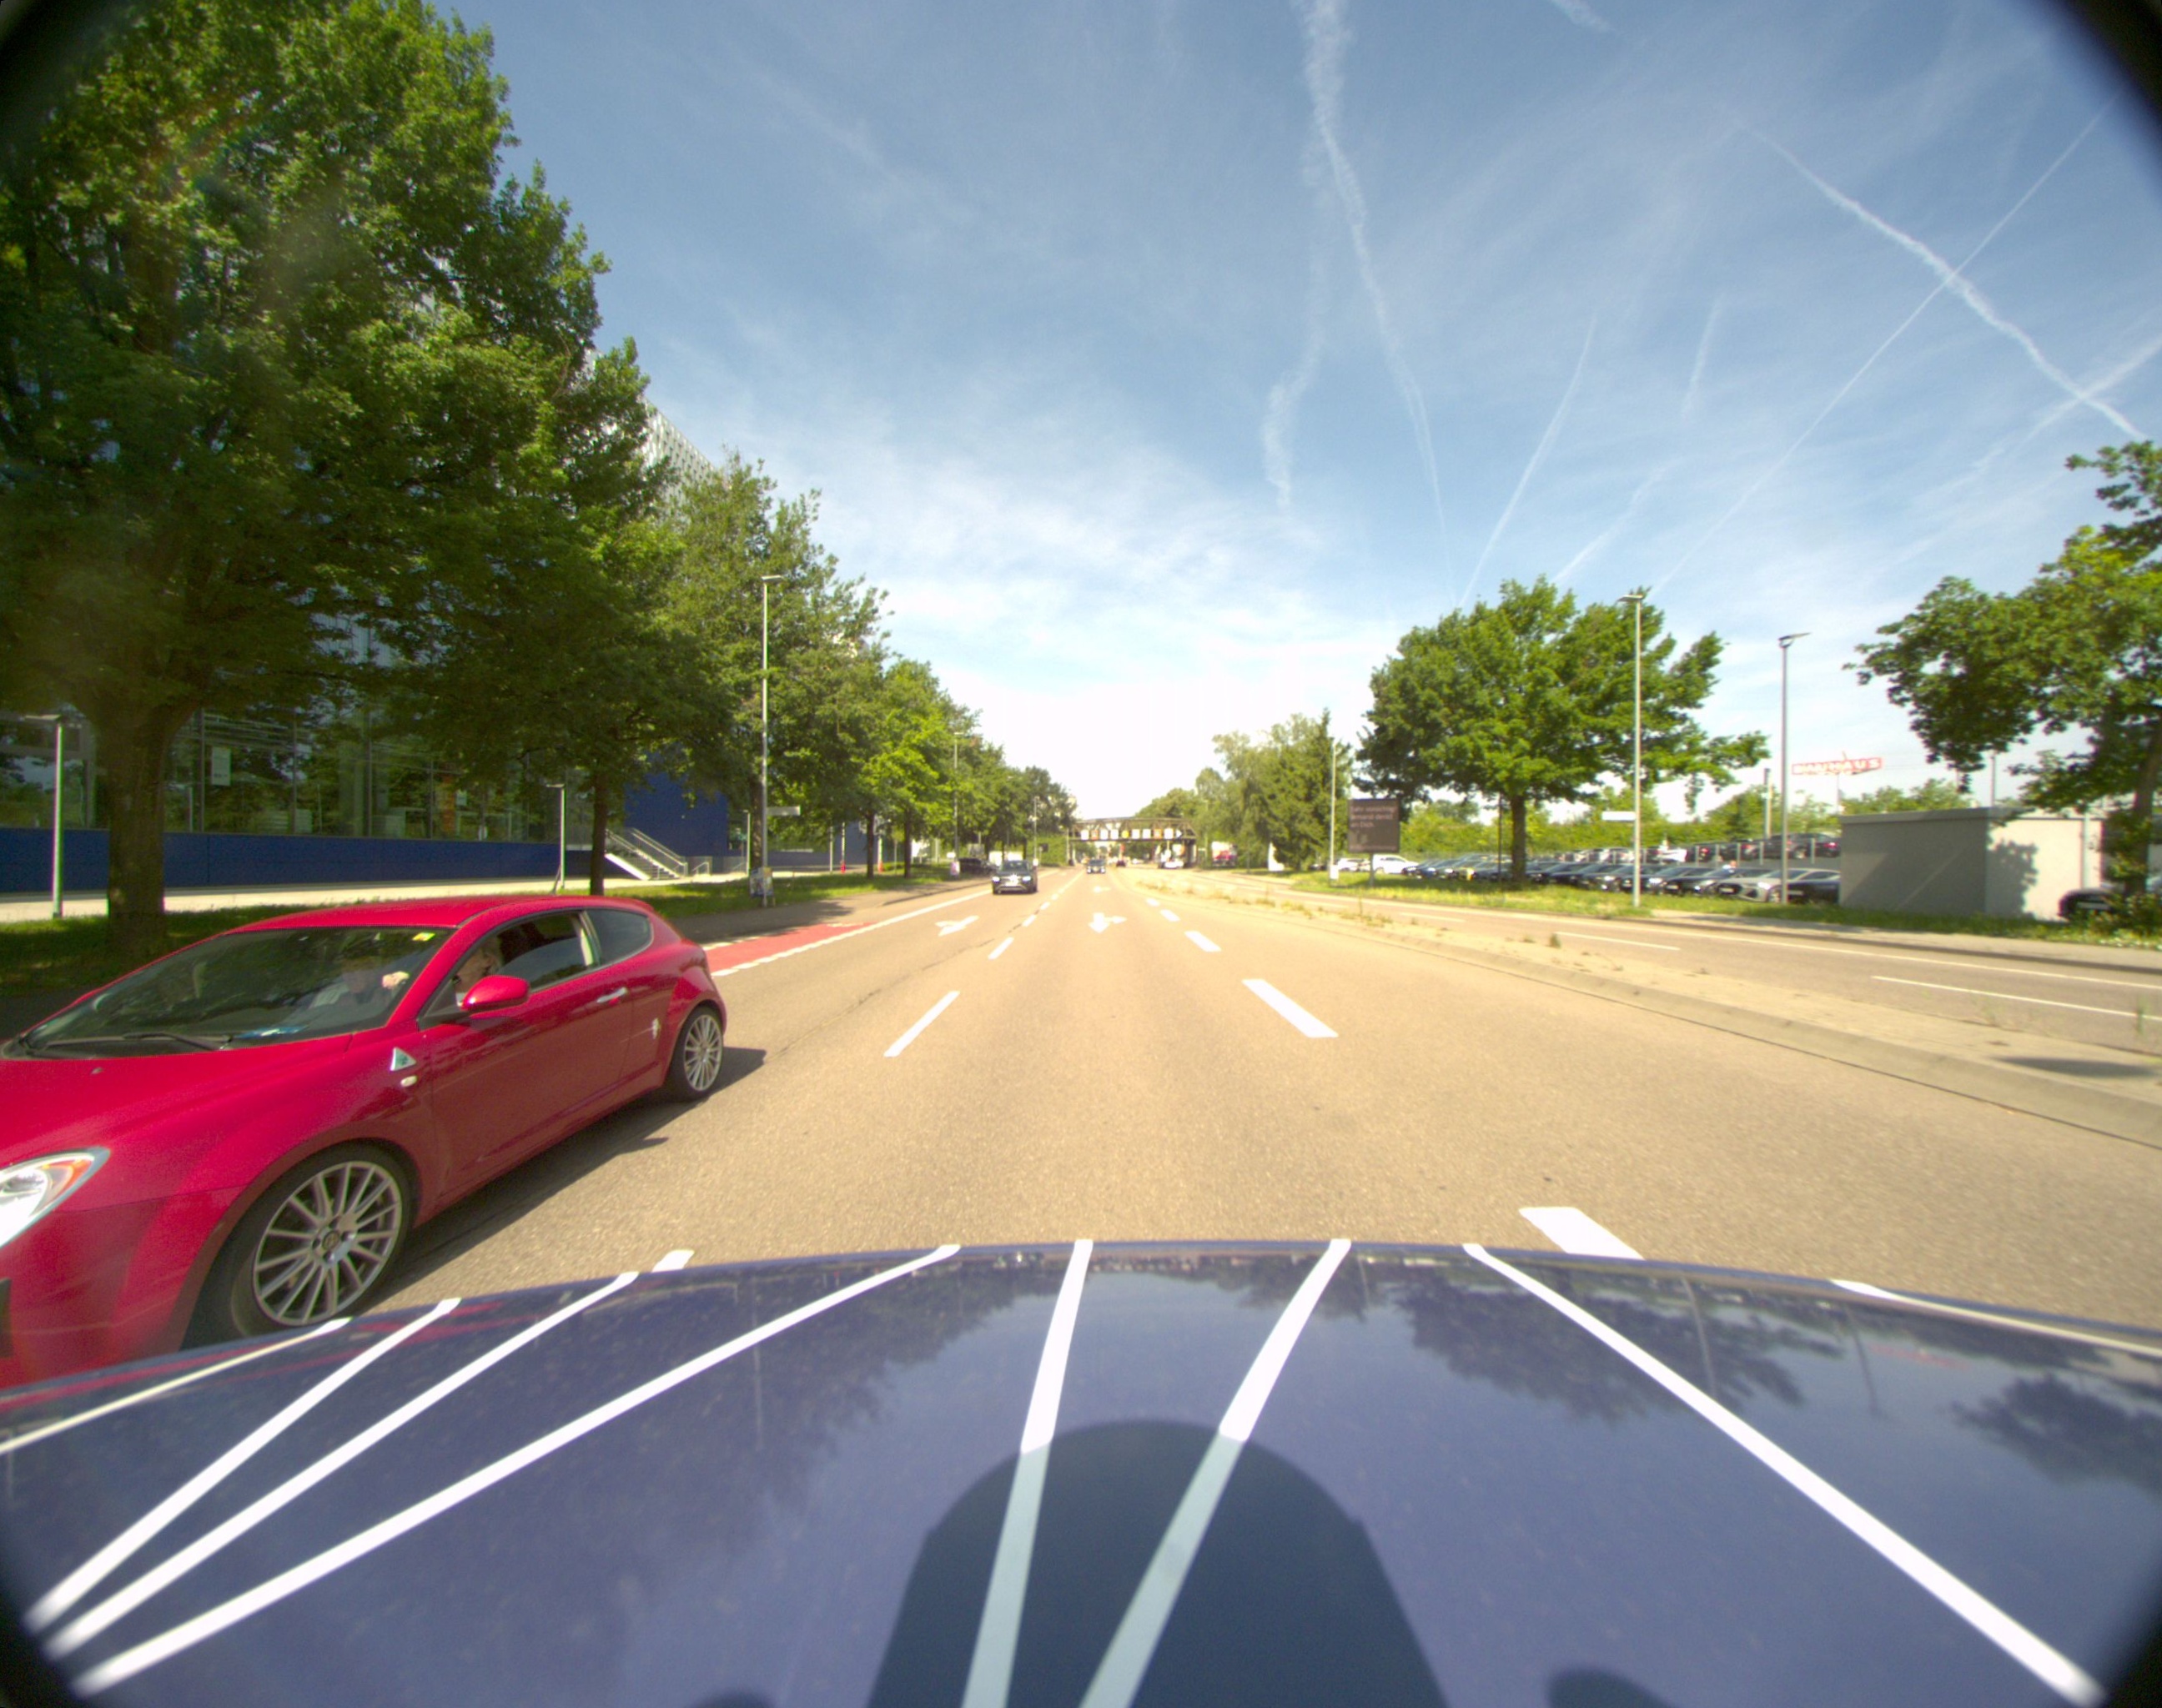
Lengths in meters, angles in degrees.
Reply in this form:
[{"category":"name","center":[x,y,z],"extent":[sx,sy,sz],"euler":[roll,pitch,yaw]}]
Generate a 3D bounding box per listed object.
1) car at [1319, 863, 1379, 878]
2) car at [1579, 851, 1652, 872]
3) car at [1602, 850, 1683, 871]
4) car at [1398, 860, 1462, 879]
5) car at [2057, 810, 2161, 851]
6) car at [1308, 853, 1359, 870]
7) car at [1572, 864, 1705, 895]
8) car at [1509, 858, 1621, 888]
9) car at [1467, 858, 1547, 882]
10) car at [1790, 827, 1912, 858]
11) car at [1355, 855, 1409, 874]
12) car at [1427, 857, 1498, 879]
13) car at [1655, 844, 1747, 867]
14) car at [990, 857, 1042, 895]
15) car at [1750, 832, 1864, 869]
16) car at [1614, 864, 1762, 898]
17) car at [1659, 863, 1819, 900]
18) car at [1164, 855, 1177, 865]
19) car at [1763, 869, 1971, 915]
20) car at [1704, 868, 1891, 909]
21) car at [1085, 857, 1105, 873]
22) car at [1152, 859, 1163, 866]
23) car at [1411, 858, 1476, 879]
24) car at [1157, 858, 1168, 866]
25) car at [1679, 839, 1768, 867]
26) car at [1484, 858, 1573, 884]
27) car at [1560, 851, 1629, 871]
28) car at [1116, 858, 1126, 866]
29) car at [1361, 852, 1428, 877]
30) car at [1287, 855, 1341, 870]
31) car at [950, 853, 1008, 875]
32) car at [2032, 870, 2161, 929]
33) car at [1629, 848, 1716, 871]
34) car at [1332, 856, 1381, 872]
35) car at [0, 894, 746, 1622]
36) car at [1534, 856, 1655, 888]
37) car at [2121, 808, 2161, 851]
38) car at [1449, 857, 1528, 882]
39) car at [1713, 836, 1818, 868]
[{"category":"car","center":[24.849,1.479,70.523],"extent":[4.863,1.261,2.000],"euler":[-1,0,1]},{"category":"car","center":[40.927,0.584,58.243],"extent":[4.213,1.468,2.000],"euler":[-1,0,-2]},{"category":"car","center":[40.903,0.467,55.425],"extent":[4.511,1.410,1.891],"euler":[-1,0,-1]},{"category":"car","center":[25.031,1.126,54.627],"extent":[3.801,1.277,1.744],"euler":[-1,0,-1]},{"category":"car","center":[40.706,-0.910,29.288],"extent":[3.997,1.487,1.668],"euler":[-1,0,1]},{"category":"car","center":[24.127,0.743,72.671],"extent":[4.224,1.537,2.000],"euler":[-1,0,1]},{"category":"car","center":[24.689,1.113,33.752],"extent":[4.511,1.282,1.919],"euler":[0,0,-1]},{"category":"car","center":[24.913,0.977,39.226],"extent":[4.511,1.467,1.979],"euler":[0,0,-1]},{"category":"car","center":[24.833,0.915,44.413],"extent":[3.603,1.277,1.865],"euler":[2,0,-1]},{"category":"car","center":[40.688,-0.592,40.224],"extent":[4.511,1.542,1.979],"euler":[0,0,-1]},{"category":"car","center":[26.020,0.903,65.742],"extent":[3.995,1.477,1.848],"euler":[-1,0,5]},{"category":"car","center":[24.724,0.925,49.296],"extent":[3.752,1.277,1.663],"euler":[2,0,-1]},{"category":"car","center":[41.080,0.119,50.445],"extent":[4.511,1.476,1.979],"euler":[0,0,-1]},{"category":"car","center":[-2.924,0.955,34.893],"extent":[1.824,1.632,4.113],"euler":[-1,0,2]},{"category":"car","center":[40.616,-0.190,42.607],"extent":[4.511,1.951,1.979],"euler":[0,0,-1]},{"category":"car","center":[24.718,1.085,31.058],"extent":[4.511,1.282,1.919],"euler":[0,0,-1]},{"category":"car","center":[24.478,1.008,28.364],"extent":[4.511,1.282,1.691],"euler":[0,0,-1]},{"category":"car","center":[14.992,0.923,127.653],"extent":[1.998,1.608,4.105],"euler":[2,0,5]},{"category":"car","center":[24.407,1.155,23.715],"extent":[4.511,1.282,1.919],"euler":[0,0,-1]},{"category":"car","center":[24.430,1.150,26.026],"extent":[4.511,1.282,2.004],"euler":[0,0,-1]},{"category":"car","center":[1.377,1.074,75.047],"extent":[1.888,1.427,4.000],"euler":[-1,0,1]},{"category":"car","center":[15.056,1.693,149.589],"extent":[1.639,1.379,4.319],"euler":[1,0,1]},{"category":"car","center":[24.714,0.983,51.899],"extent":[3.603,1.277,1.744],"euler":[2,0,-1]},{"category":"car","center":[14.973,1.468,139.893],"extent":[1.702,1.510,4.027],"euler":[2,0,1]},{"category":"car","center":[40.665,-0.077,48.137],"extent":[4.279,1.695,1.665],"euler":[0,0,-1]},{"category":"car","center":[24.601,0.908,41.850],"extent":[3.689,1.277,1.985],"euler":[2,0,-1]},{"category":"car","center":[41.061,0.576,60.845],"extent":[4.213,1.468,2.000],"euler":[-1,0,-2]},{"category":"car","center":[7.905,1.567,150.035],"extent":[1.785,1.438,4.120],"euler":[1,0,1]},{"category":"car","center":[24.755,0.796,60.105],"extent":[4.473,1.864,2.000],"euler":[-1,0,2]},{"category":"car","center":[23.253,0.873,75.932],"extent":[4.698,1.381,2.000],"euler":[-1,0,1]},{"category":"car","center":[-8.515,0.800,63.580],"extent":[4.452,1.684,1.845],"euler":[1,1,8]},{"category":"car","center":[23.753,1.067,16.432],"extent":[3.997,1.149,1.897],"euler":[4,0,-1]},{"category":"car","center":[41.011,0.370,52.786],"extent":[4.511,1.476,1.979],"euler":[0,0,-1]},{"category":"car","center":[24.578,0.908,67.939],"extent":[3.689,1.363,1.816],"euler":[-1,0,1]},{"category":"car","center":[-3.371,1.041,3.513],"extent":[1.798,1.446,3.979],"euler":[-1,1,1]},{"category":"car","center":[24.748,0.848,36.730],"extent":[4.511,1.467,1.919],"euler":[0,0,-1]},{"category":"car","center":[40.146,-0.908,26.661],"extent":[4.530,1.487,1.986],"euler":[-1,0,1]},{"category":"car","center":[25.101,0.945,46.903],"extent":[3.897,1.332,1.840],"euler":[2,0,-1]},{"category":"car","center":[40.670,-0.116,45.210],"extent":[4.511,1.805,1.979],"euler":[0,0,-1]}]
